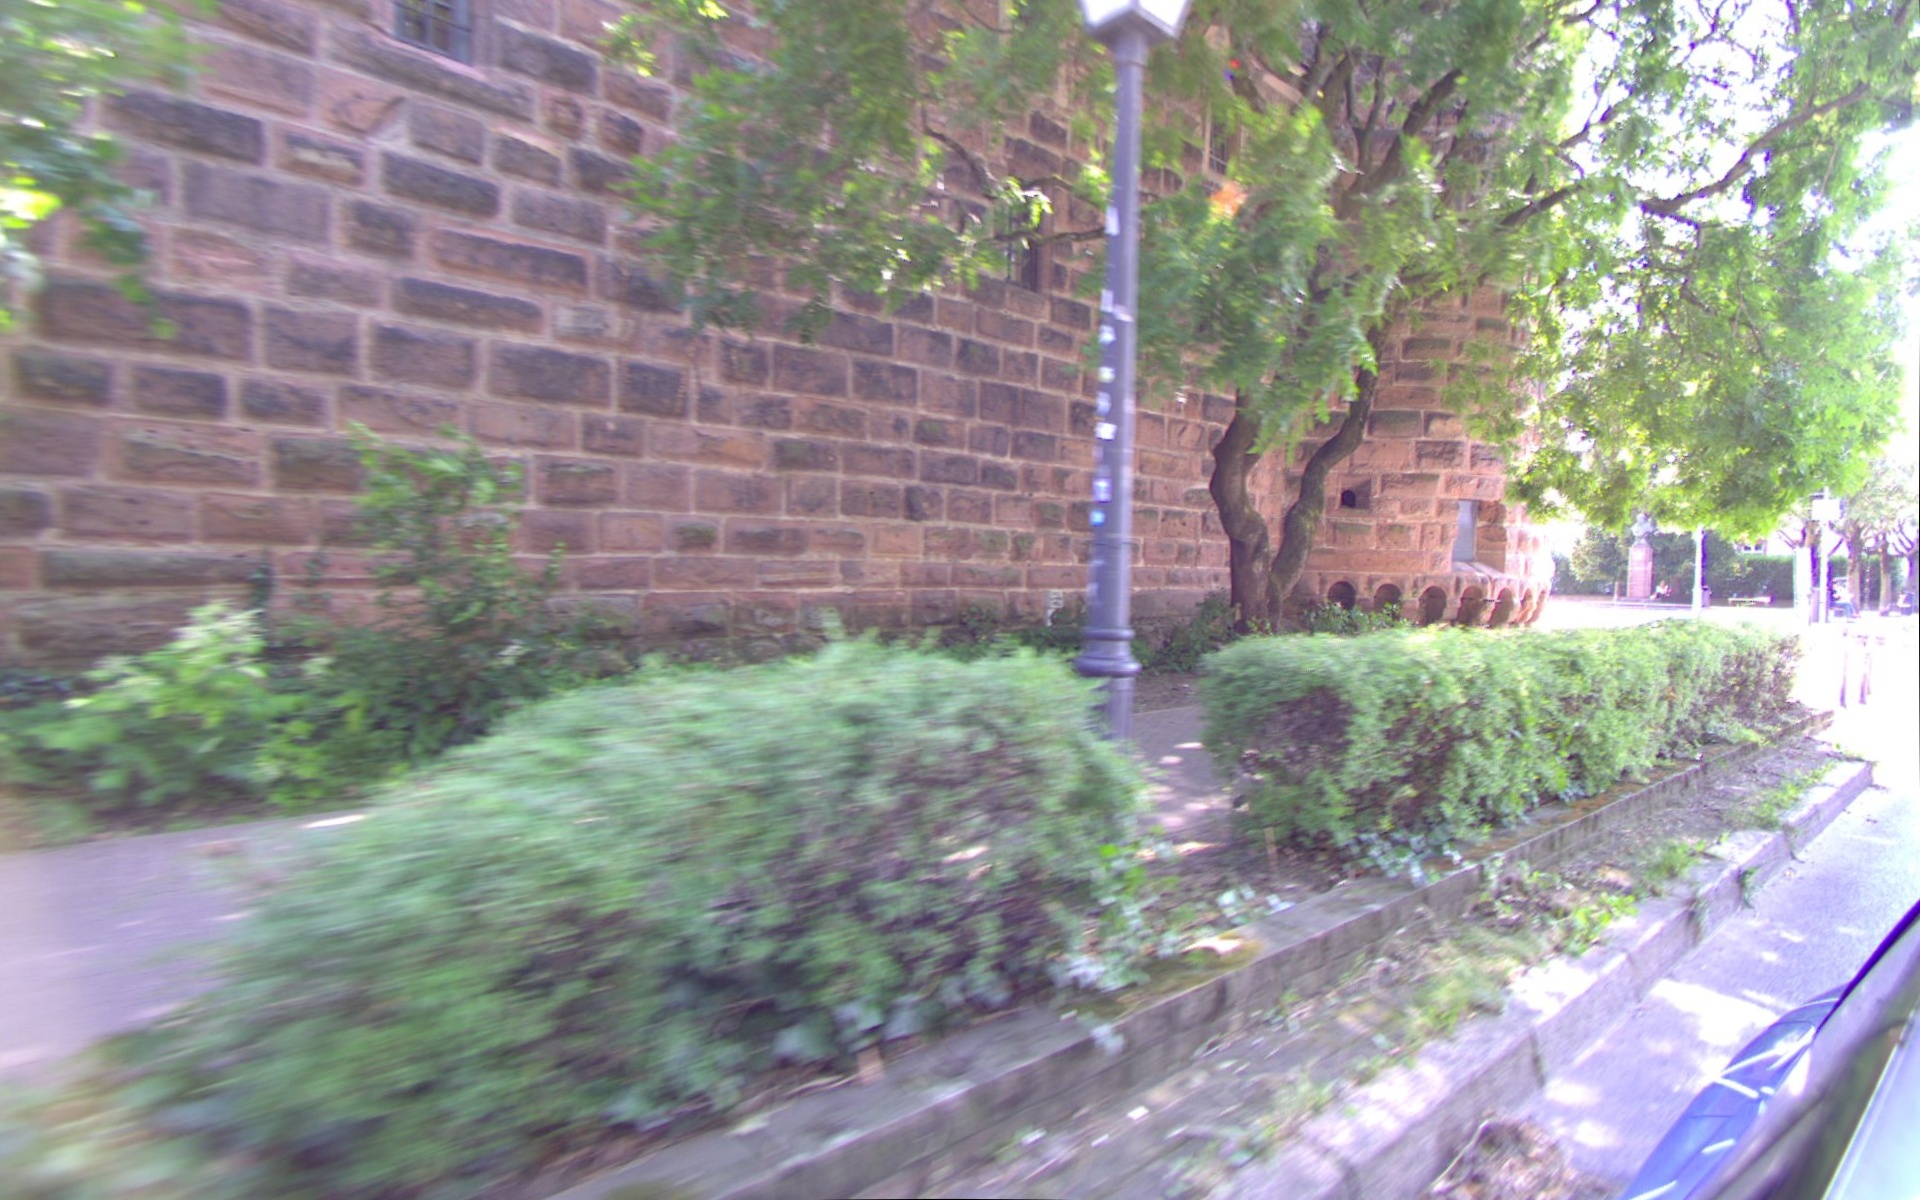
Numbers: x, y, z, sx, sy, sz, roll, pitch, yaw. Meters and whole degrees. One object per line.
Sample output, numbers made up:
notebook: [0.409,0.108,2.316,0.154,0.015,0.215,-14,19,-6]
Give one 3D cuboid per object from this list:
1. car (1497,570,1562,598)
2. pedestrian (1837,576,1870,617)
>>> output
car: [36.219,-1.021,64.404,1.723,1.600,3.233,0,3,-43]
pedestrian: [26.483,-0.100,29.991,0.733,1.208,0.632,-1,0,-39]
